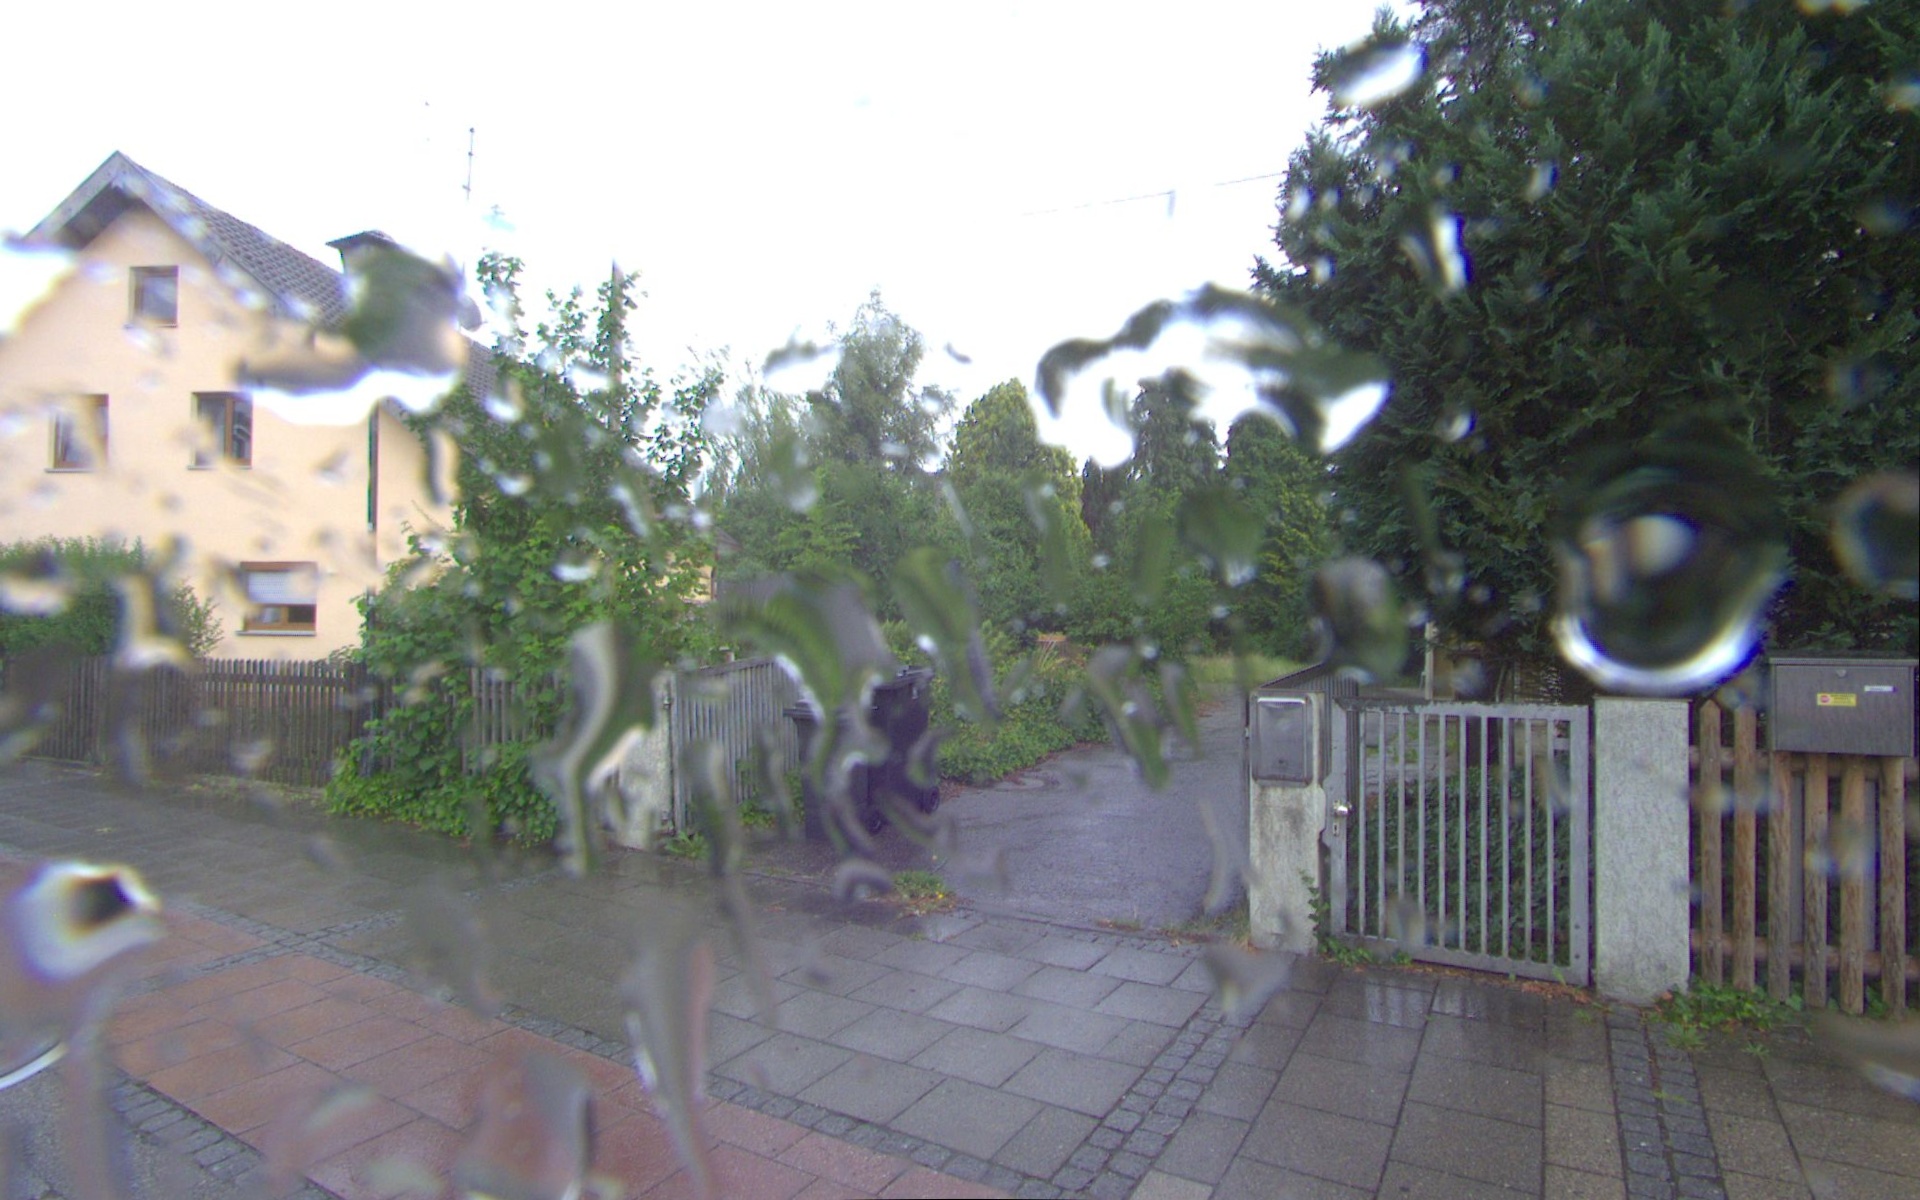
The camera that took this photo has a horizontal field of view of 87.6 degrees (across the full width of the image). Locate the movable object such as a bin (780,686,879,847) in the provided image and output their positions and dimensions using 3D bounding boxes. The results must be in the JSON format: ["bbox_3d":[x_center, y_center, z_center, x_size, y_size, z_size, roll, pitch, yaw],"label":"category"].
[{"bbox_3d":[-0.842,1.057,6.489,0.440,0.948,0.432,-1,1,33],"label":"movable object such as a bin"}]

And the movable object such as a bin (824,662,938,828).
[{"bbox_3d":[-0.546,0.988,7.031,0.545,1.054,0.574,-1,1,33],"label":"movable object such as a bin"}]
